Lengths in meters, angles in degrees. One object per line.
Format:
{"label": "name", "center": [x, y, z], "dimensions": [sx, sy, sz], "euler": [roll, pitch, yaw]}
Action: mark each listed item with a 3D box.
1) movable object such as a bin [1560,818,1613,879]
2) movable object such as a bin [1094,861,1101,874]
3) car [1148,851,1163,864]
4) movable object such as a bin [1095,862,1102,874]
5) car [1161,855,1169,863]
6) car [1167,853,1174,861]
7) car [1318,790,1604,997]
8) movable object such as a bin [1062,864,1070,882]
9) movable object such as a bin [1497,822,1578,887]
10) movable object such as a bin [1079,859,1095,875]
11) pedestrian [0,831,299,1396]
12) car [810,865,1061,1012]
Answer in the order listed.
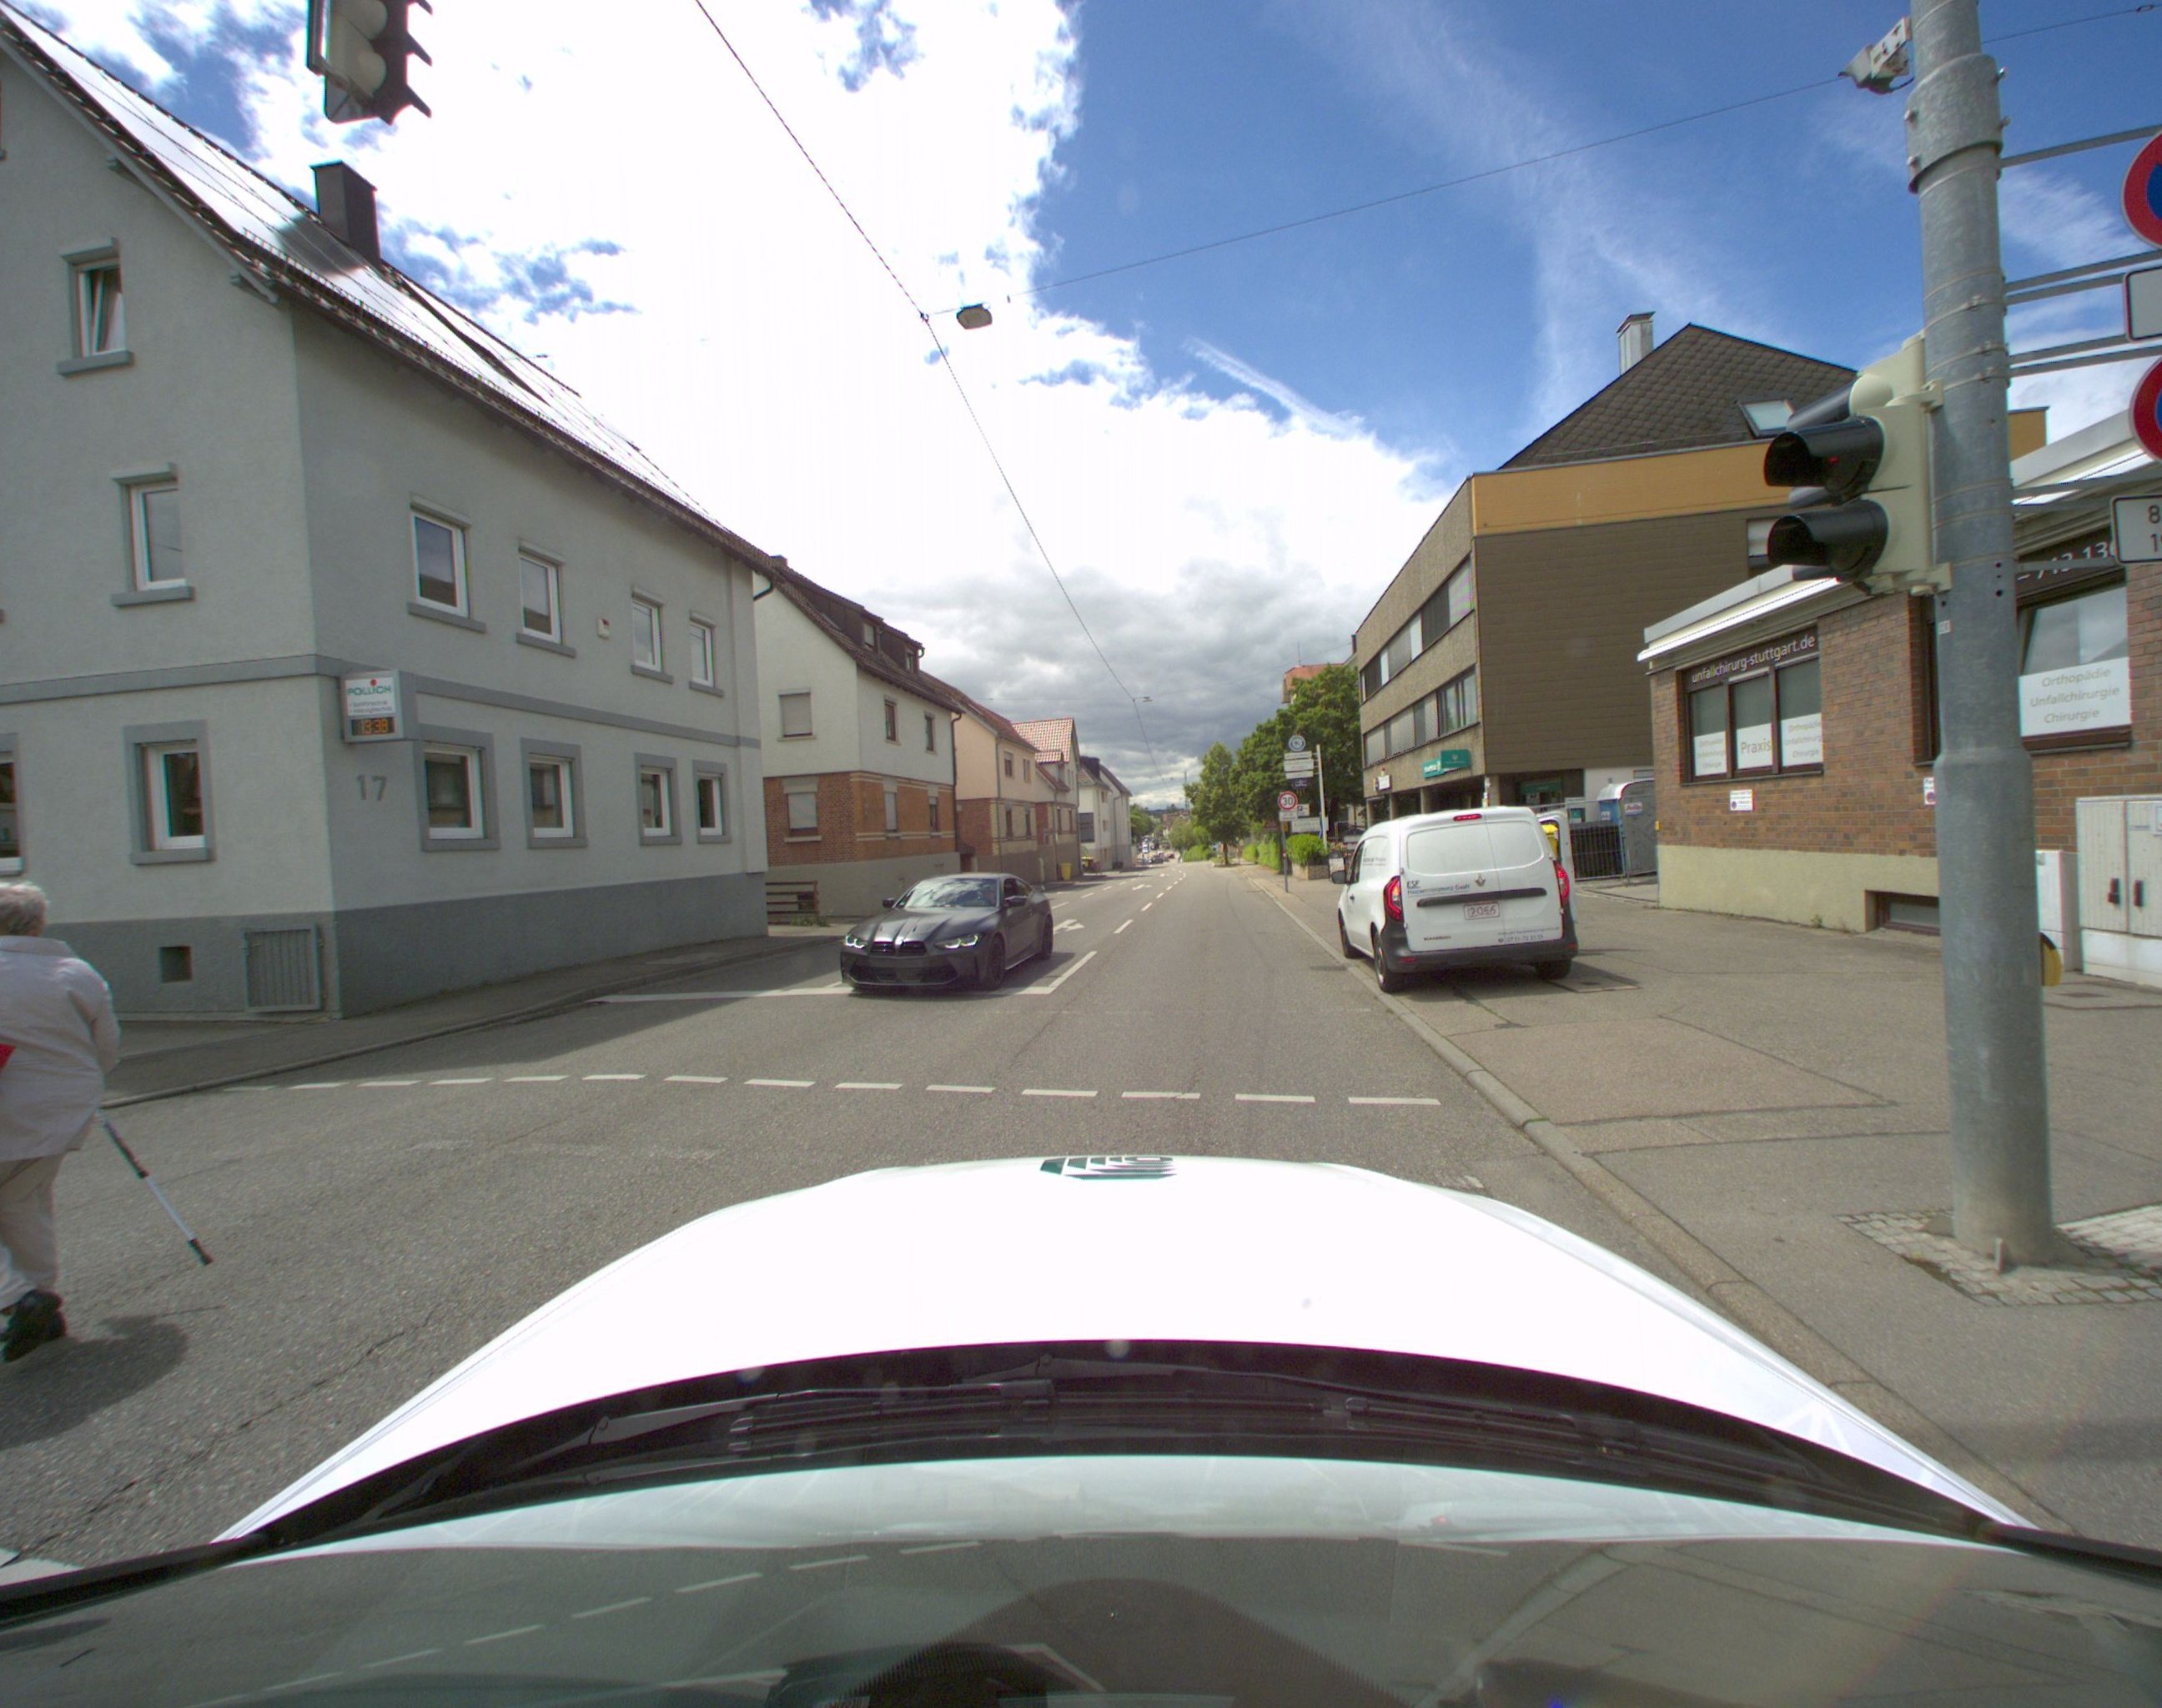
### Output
{"label": "movable object such as a bin", "center": [12.685, -0.147, 20.467], "dimensions": [0.774, 1.440, 1.021], "euler": [-3, 2, 12]}
{"label": "movable object such as a bin", "center": [1.425, 1.180, 70.440], "dimensions": [0.529, 1.030, 0.456], "euler": [-3, 0, 7]}
{"label": "car", "center": [12.296, 0.550, 135.159], "dimensions": [1.987, 2.013, 3.999], "euler": [-3, 0, 0]}
{"label": "movable object such as a bin", "center": [1.516, 1.247, 70.949], "dimensions": [0.529, 1.030, 0.456], "euler": [-3, 0, 7]}
{"label": "car", "center": [22.813, 1.439, 221.799], "dimensions": [1.984, 2.014, 4.005], "euler": [-4, -1, 5]}
{"label": "car", "center": [26.041, 0.907, 237.489], "dimensions": [1.984, 2.014, 4.005], "euler": [-4, -1, 5]}
{"label": "car", "center": [4.197, 0.377, 9.899], "dimensions": [1.899, 1.794, 4.503], "euler": [-5, -1, 10]}
{"label": "movable object such as a bin", "center": [-0.981, 1.259, 53.184], "dimensions": [0.429, 1.128, 0.300], "euler": [-4, 0, 7]}
{"label": "movable object such as a bin", "center": [11.515, -0.003, 20.582], "dimensions": [1.472, 1.492, 1.080], "euler": [-3, 2, 12]}
{"label": "movable object such as a bin", "center": [0.523, 1.106, 69.240], "dimensions": [1.276, 1.310, 0.817], "euler": [-3, 0, 3]}
{"label": "pedestrian", "center": [-3.496, 0.777, 2.767], "dimensions": [0.870, 1.638, 0.834], "euler": [-2, -2, -7]}
{"label": "car", "center": [-1.720, 0.998, 11.465], "dimensions": [1.982, 1.457, 4.629], "euler": [-4, 0, 9]}
